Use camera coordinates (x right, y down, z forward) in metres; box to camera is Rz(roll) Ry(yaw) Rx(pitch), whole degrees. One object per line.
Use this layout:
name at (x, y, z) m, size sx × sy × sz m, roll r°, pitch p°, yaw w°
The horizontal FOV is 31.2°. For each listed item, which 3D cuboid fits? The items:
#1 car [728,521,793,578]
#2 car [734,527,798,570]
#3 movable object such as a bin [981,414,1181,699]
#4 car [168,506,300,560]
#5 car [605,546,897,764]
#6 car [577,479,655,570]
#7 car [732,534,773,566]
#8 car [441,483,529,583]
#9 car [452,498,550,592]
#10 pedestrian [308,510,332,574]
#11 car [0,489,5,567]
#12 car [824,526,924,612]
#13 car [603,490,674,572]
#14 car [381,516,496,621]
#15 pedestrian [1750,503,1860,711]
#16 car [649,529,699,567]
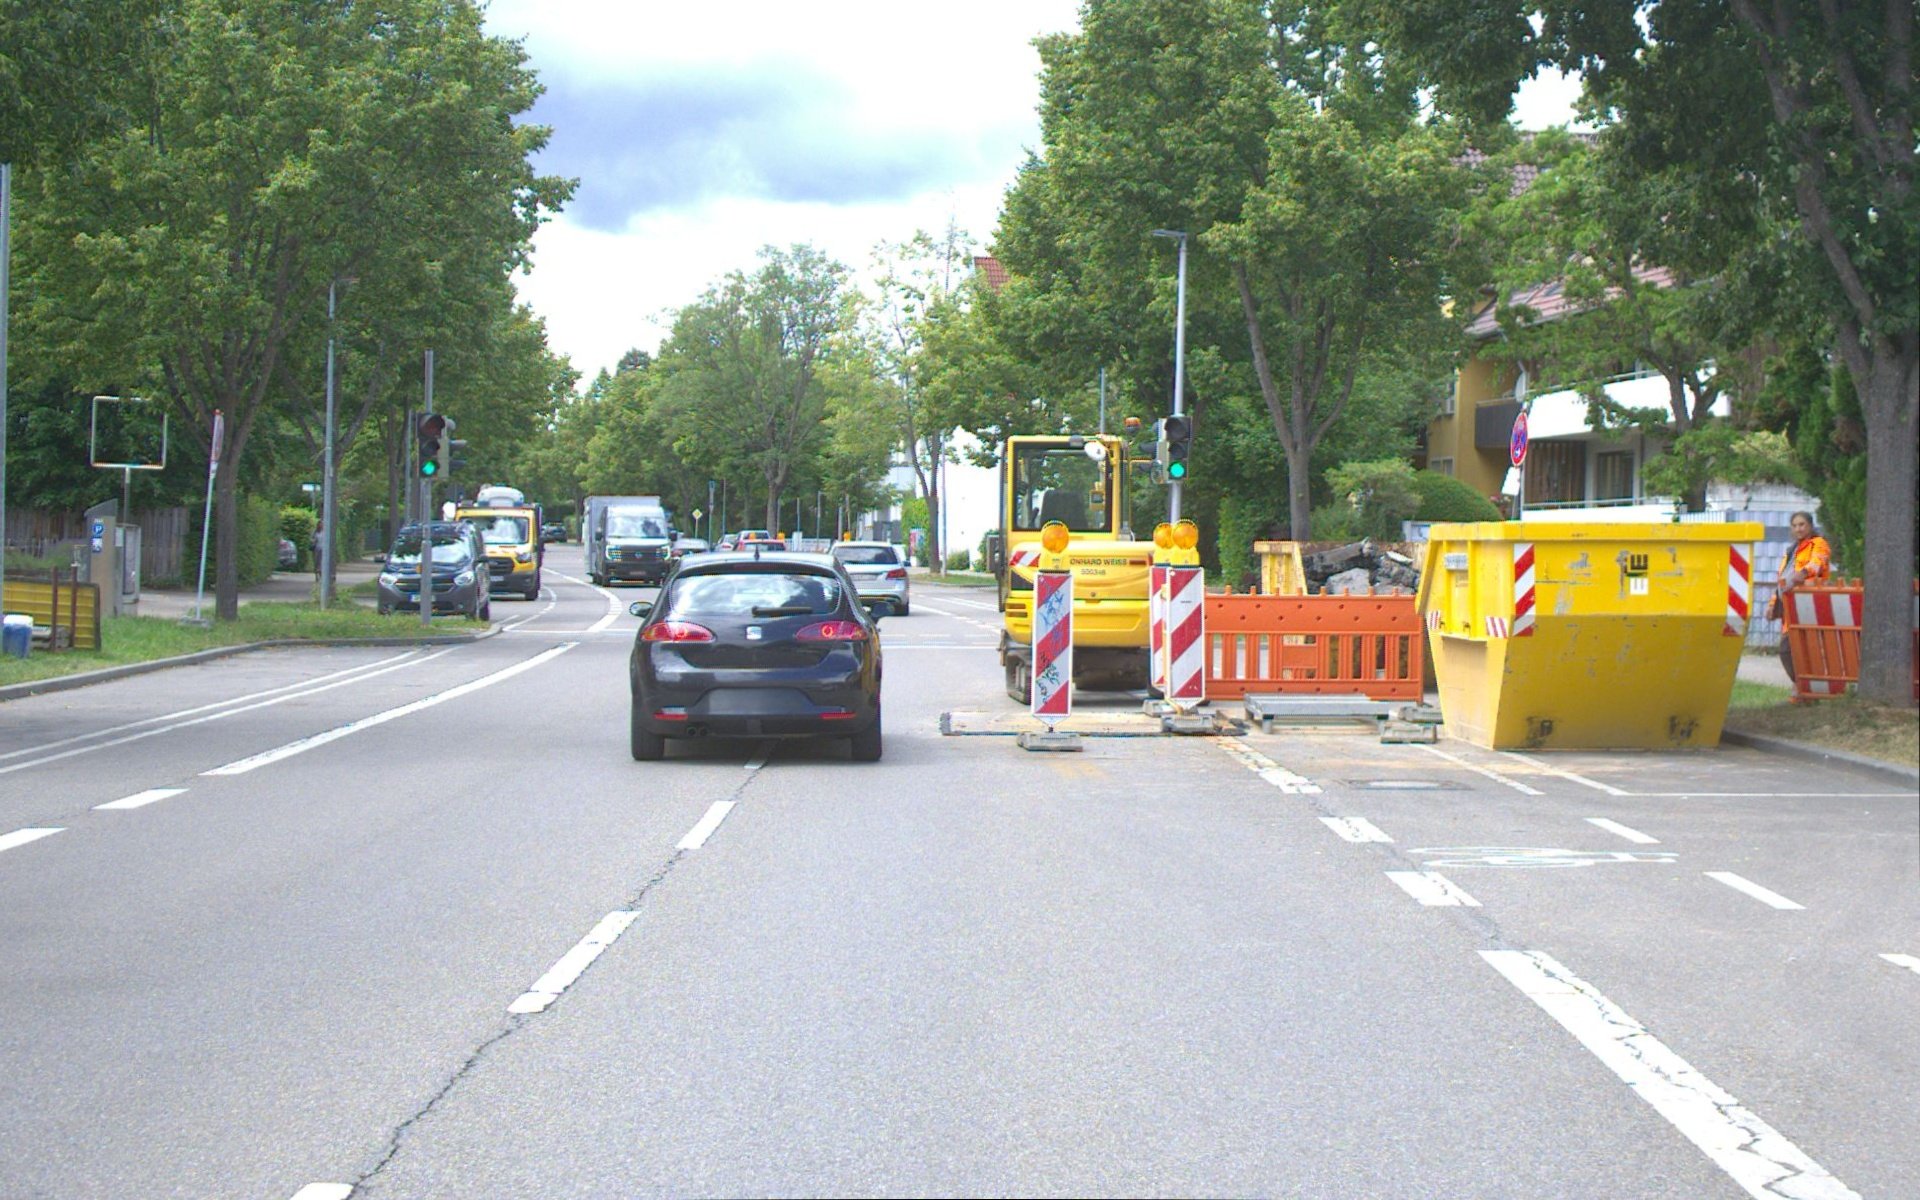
car at (-5.750, -1.462, 98.772) m, size 1.790 × 1.617 × 3.740 m, roll 0°, pitch 1°, yaw -4°
car at (-6.503, -1.727, 114.916) m, size 1.809 × 1.410 × 3.694 m, roll 0°, pitch 1°, yaw -8°
movable object such as a bin at (1.128, -0.434, 33.055) m, size 1.768 × 2.565 × 3.740 m, roll 1°, pitch 1°, yaw 1°
car at (-21.793, -2.011, 103.308) m, size 3.682 × 1.588 × 1.679 m, roll 0°, pitch 1°, yaw -5°
car at (-1.425, 0.336, 24.776) m, size 1.819 × 1.433 × 3.740 m, roll 0°, pitch 1°, yaw 1°
car at (-10.918, -2.397, 109.491) m, size 2.287 × 2.782 × 7.145 m, roll 0°, pitch 1°, yaw -4°
car at (-9.427, -2.271, 156.488) m, size 1.810 × 1.410 × 3.693 m, roll 1°, pitch 1°, yaw -2°
car at (-12.838, -1.816, 93.095) m, size 2.092 × 2.617 × 5.046 m, roll 0°, pitch 1°, yaw -5°
car at (-10.948, -1.325, 82.270) m, size 2.092 × 2.167 × 5.046 m, roll 0°, pitch 1°, yaw -5°
pedestrian at (-17.462, -1.580, 93.808) m, size 0.595 × 1.735 × 0.574 m, roll 0°, pitch 1°, yaw -5°
car at (-23.883, -1.657, 77.828) m, size 3.987 × 1.763 × 1.746 m, roll 1°, pitch 1°, yaw 3°
car at (-1.740, -0.645, 68.596) m, size 1.905 × 1.680 × 3.740 m, roll 0°, pitch 1°, yaw -3°
car at (-9.637, -2.084, 103.372) m, size 2.028 × 2.376 × 5.263 m, roll 0°, pitch 1°, yaw -4°
car at (-9.174, -0.583, 60.699) m, size 1.667 × 1.766 × 4.469 m, roll 0°, pitch 1°, yaw -4°
pedestrian at (6.702, 0.048, 27.285) m, size 0.704 × 1.628 × 0.643 m, roll 0°, pitch 1°, yaw 0°
car at (-10.852, -1.984, 130.569) m, size 1.809 × 1.370 × 3.694 m, roll 1°, pitch 1°, yaw -4°
